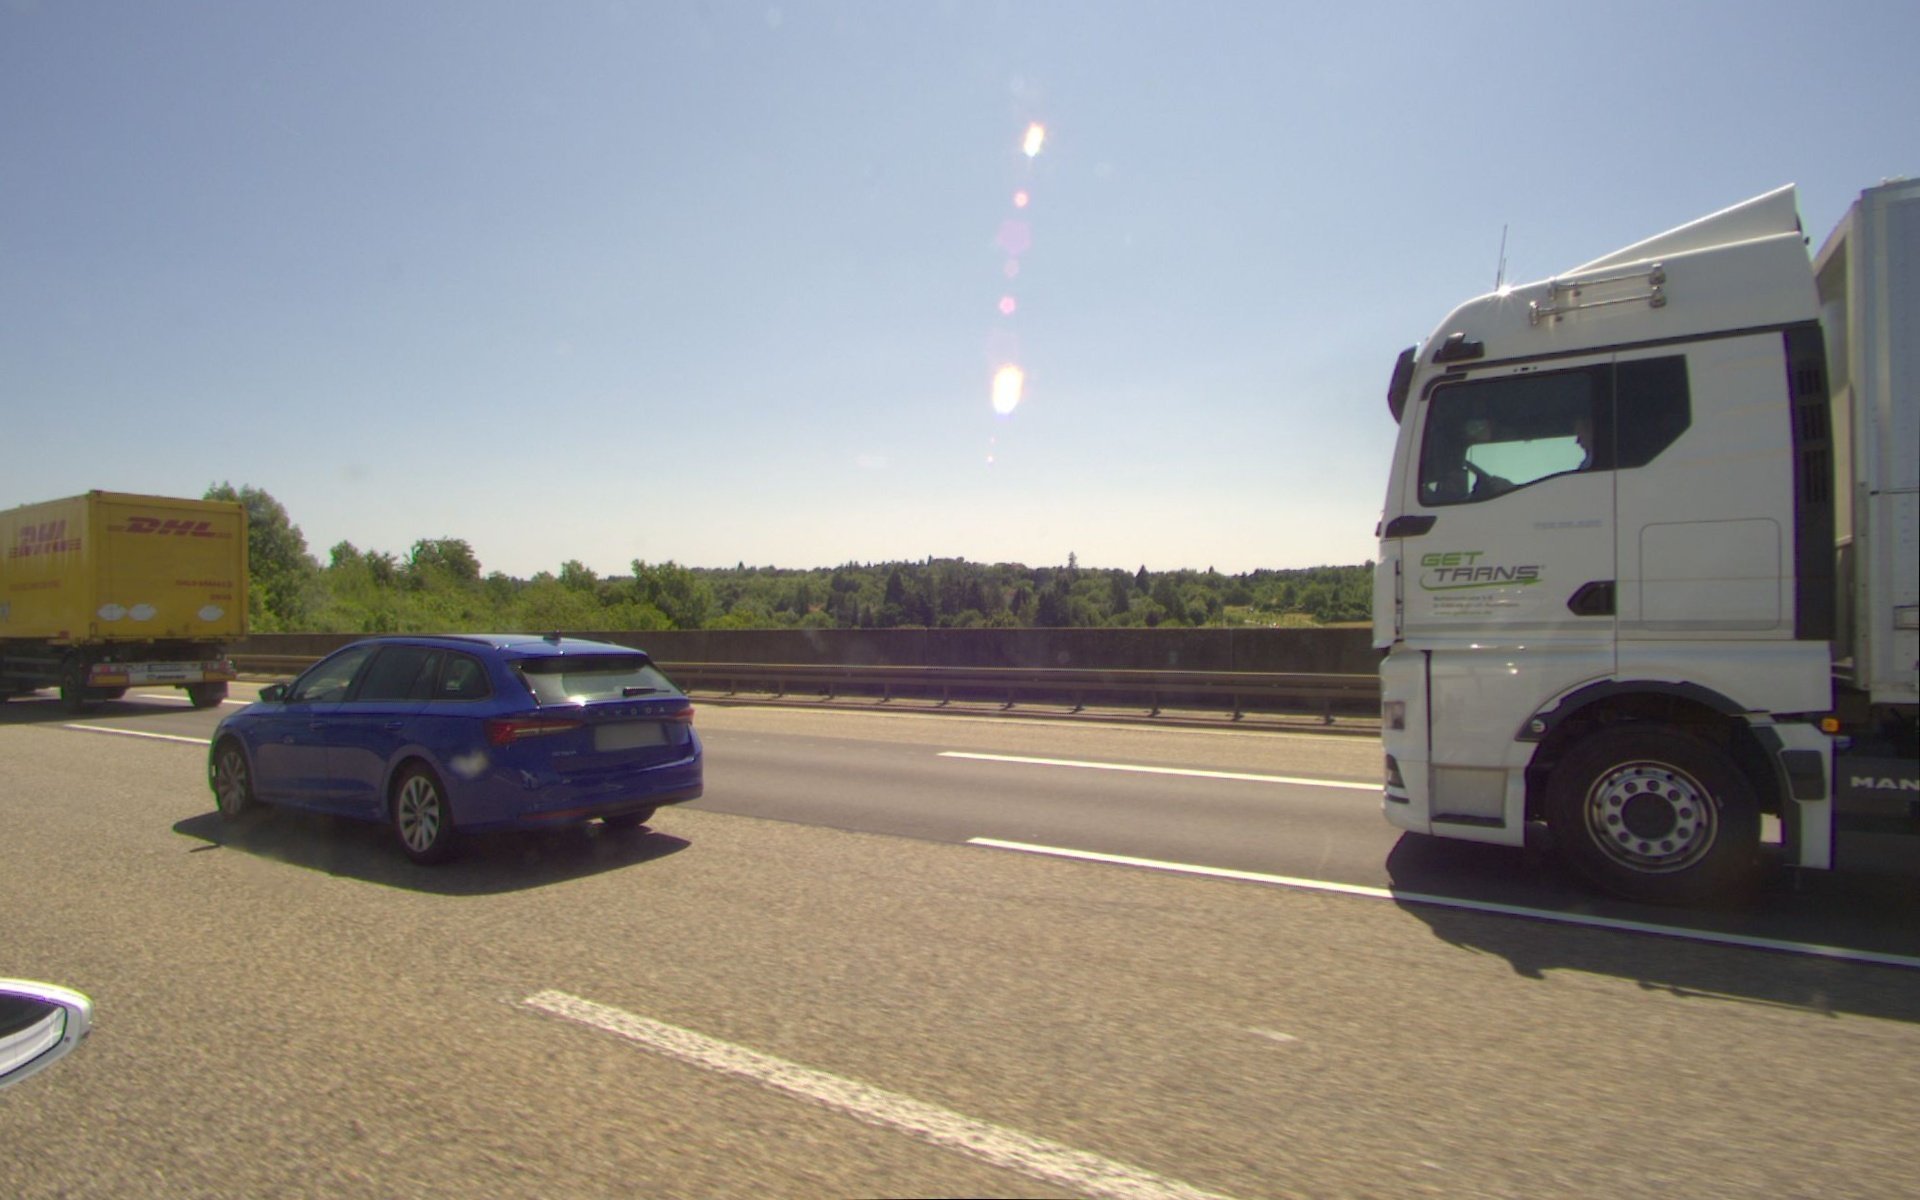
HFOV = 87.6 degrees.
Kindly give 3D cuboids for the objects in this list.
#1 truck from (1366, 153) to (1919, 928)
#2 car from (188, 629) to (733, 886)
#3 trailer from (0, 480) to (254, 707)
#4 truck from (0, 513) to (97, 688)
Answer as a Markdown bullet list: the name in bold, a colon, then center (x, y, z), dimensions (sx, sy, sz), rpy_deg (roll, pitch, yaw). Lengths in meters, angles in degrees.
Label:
- **truck**: center (7.671, -0.277, 4.423), dimensions (10.613, 3.649, 2.846), rpy_deg (-1, -2, 32)
- **car**: center (-3.939, 0.954, 7.636), dimensions (4.436, 1.459, 1.706), rpy_deg (-1, -1, 33)
- **trailer**: center (-18.662, 0.028, 21.480), dimensions (8.806, 4.074, 2.696), rpy_deg (-2, -2, 33)
- **truck**: center (-26.613, 0.156, 26.716), dimensions (10.192, 4.106, 2.717), rpy_deg (-2, -2, 33)
